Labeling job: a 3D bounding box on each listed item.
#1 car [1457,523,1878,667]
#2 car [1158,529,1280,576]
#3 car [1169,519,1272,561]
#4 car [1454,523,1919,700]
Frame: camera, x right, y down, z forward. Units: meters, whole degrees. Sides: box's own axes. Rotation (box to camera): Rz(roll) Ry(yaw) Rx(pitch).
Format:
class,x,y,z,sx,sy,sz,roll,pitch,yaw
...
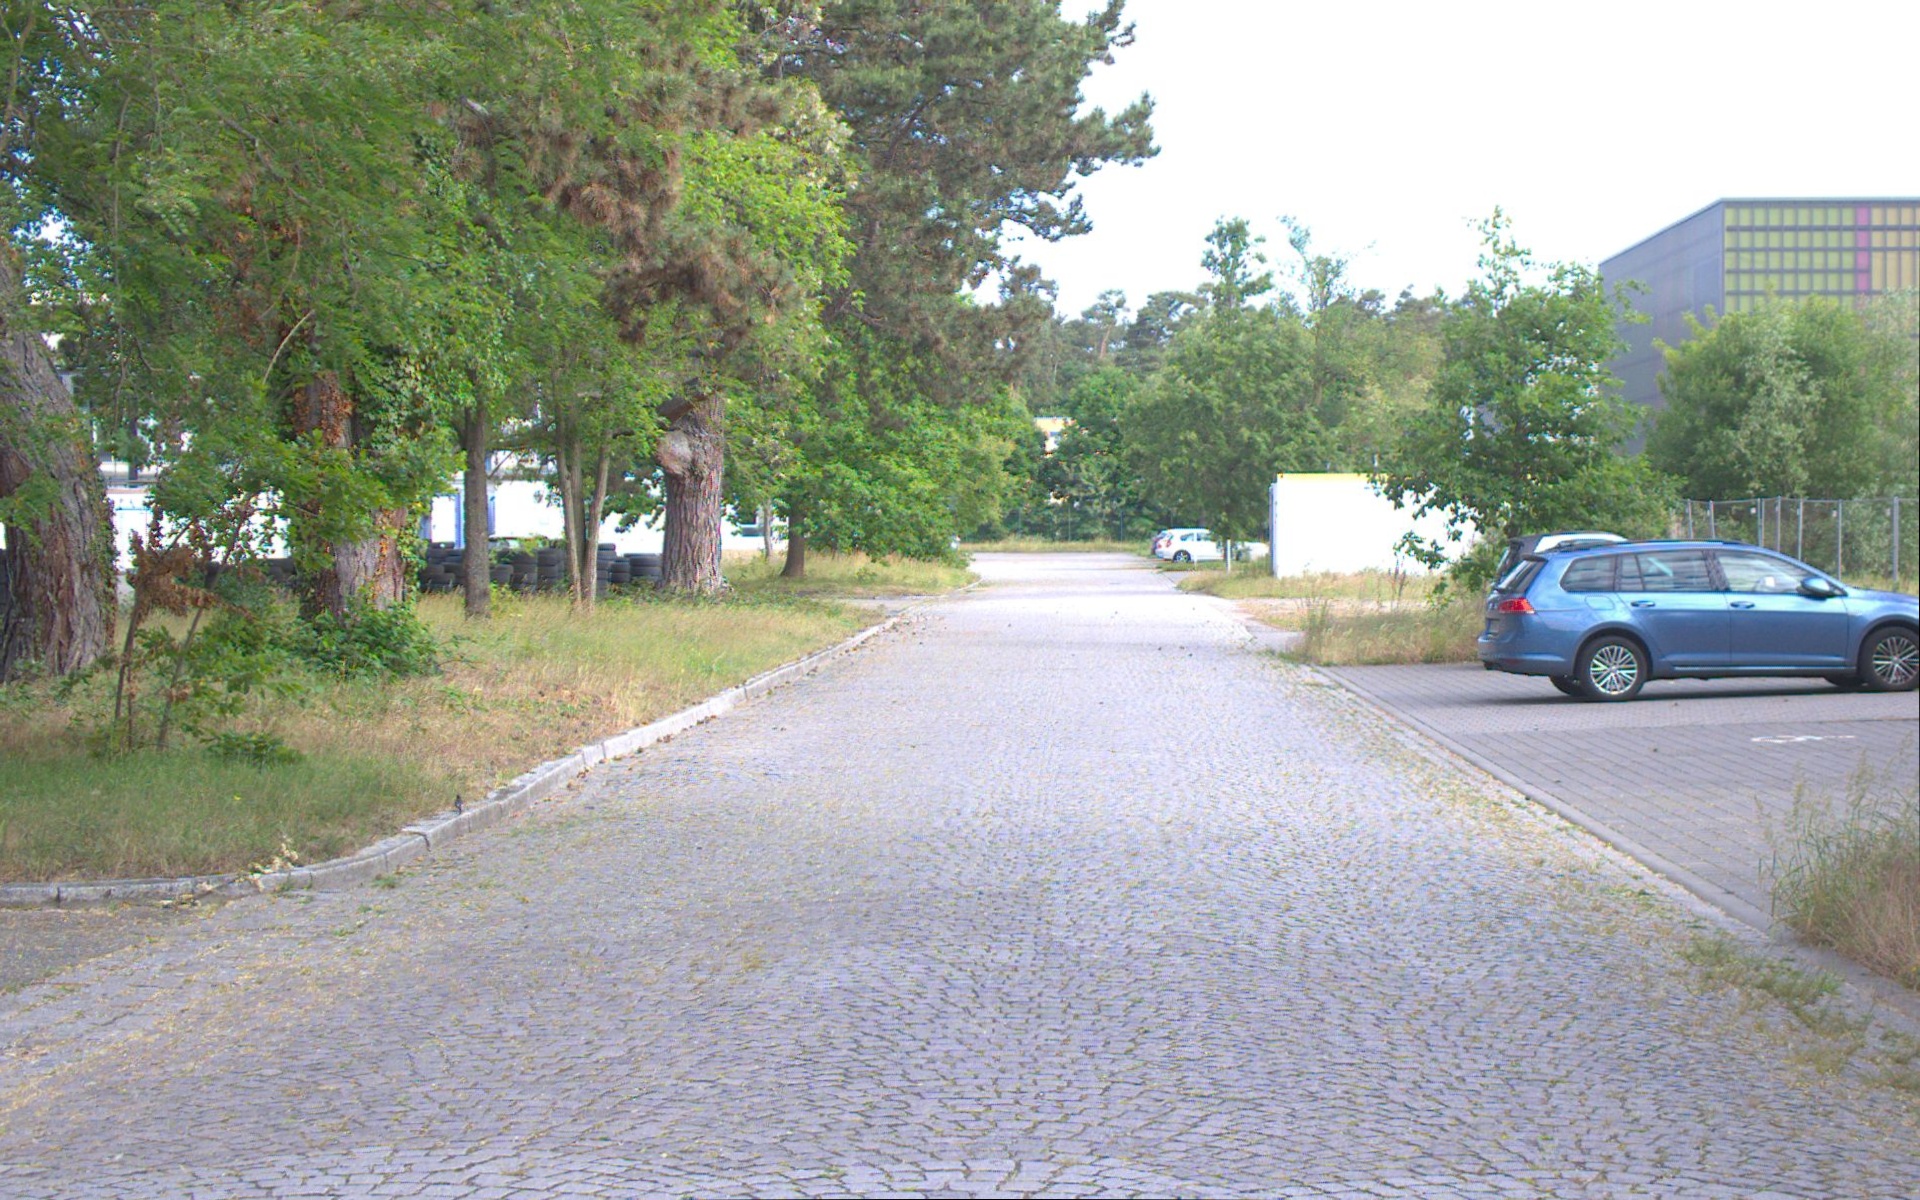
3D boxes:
class,x,y,z,sx,sy,sz,roll,pitch,yaw
car,8.156,-0.080,39.959,4.518,1.526,2.000,-1,1,3
car,9.474,-1.760,126.174,4.355,1.682,1.925,0,1,1
car,11.113,-2.577,147.106,4.355,1.774,1.925,0,1,4
car,7.125,0.085,32.655,4.517,1.526,2.000,-1,1,-1
